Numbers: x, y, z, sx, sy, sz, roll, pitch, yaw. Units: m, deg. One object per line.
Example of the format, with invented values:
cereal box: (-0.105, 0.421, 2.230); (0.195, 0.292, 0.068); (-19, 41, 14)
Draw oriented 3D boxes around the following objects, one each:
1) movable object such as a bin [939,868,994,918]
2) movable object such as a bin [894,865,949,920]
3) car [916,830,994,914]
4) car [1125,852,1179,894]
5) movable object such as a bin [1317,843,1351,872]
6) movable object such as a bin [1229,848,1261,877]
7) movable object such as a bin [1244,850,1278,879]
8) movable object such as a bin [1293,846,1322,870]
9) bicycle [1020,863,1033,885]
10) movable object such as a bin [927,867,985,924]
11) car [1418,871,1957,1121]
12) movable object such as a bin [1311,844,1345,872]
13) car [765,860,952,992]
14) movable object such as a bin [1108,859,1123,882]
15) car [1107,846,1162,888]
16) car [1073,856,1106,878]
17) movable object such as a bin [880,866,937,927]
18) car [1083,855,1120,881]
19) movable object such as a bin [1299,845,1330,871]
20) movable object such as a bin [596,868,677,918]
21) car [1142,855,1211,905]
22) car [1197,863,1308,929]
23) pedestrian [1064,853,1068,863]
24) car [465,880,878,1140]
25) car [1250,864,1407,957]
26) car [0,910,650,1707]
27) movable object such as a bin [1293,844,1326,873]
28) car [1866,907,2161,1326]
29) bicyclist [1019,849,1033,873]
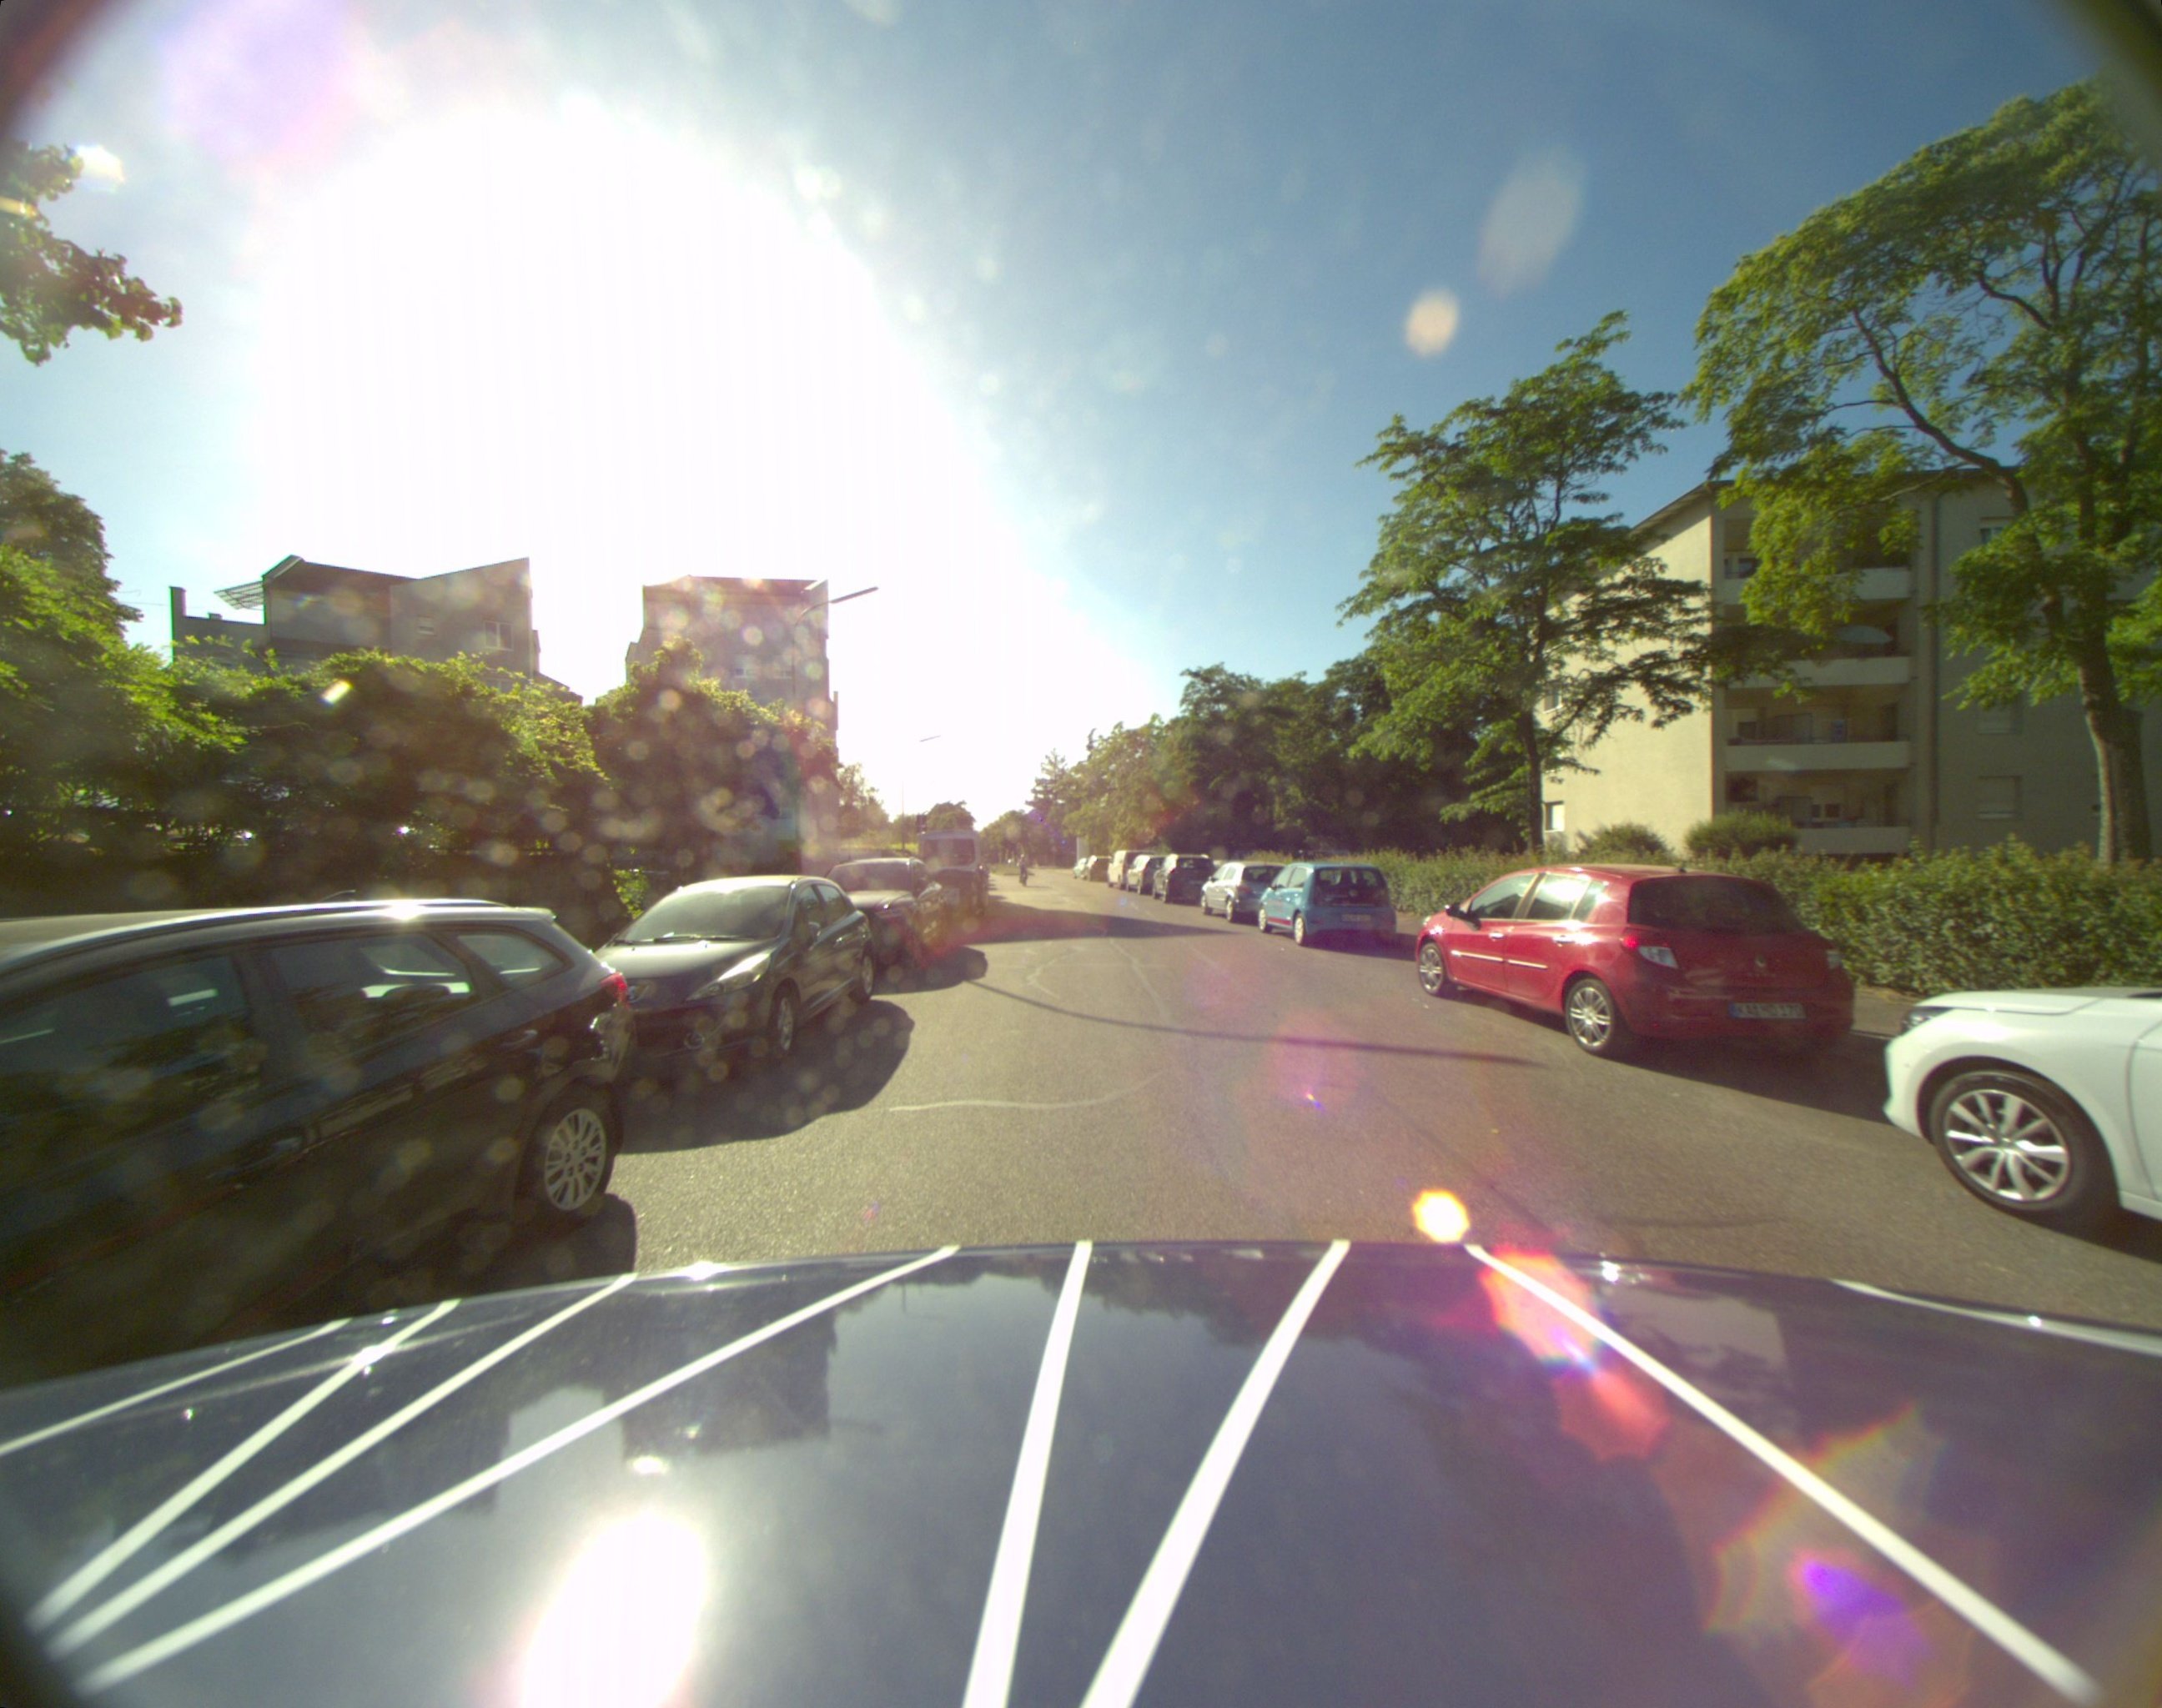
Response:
movable object such as a bin: (-3.113, 1.054, 20.836); (1.272, 1.306, 1.123); (0, -1, 4)
movable object such as a bin: (-4.342, 1.035, 20.810); (1.110, 1.411, 1.360); (-3, 0, 2)
car: (-4.207, 0.530, 26.277); (2.111, 2.472, 5.852); (-2, 1, -5)
car: (2.989, 0.766, 32.943); (1.560, 1.712, 4.338); (-1, 0, -5)
movable object such as a bin: (13.334, 0.195, 40.121); (1.262, 1.480, 1.279); (-1, 1, -6)
movable object such as a bin: (8.694, 0.440, 40.312); (1.263, 1.542, 1.278); (-1, 1, -13)
movable object such as a bin: (9.122, 0.513, 38.494); (1.280, 1.393, 1.261); (-1, 1, -10)
movable object such as a bin: (13.378, 0.239, 44.908); (1.279, 1.347, 1.509); (-1, 1, -1)
bicycle: (-2.989, 1.078, 41.489); (0.458, 1.138, 1.896); (0, 0, -12)
movable object such as a bin: (-3.213, 1.055, 19.671); (1.231, 1.389, 1.170); (-1, 1, 4)
car: (4.640, 0.938, 6.623); (1.675, 1.465, 3.677); (0, 0, -2)
movable object such as a bin: (13.501, 0.196, 41.641); (1.279, 1.480, 1.509); (-1, 1, -4)
car: (-3.345, 0.974, 12.396); (1.815, 1.654, 4.461); (-3, 0, -2)
movable object such as a bin: (2.053, 0.978, 45.213); (0.805, 1.308, 1.321); (-1, 0, -2)
car: (2.610, 0.618, 37.969); (1.869, 1.949, 4.667); (-1, 0, -7)
car: (0.593, 0.925, 55.845); (1.632, 1.518, 3.415); (-1, 0, -14)
movable object such as a bin: (-4.404, 1.074, 19.531); (1.094, 1.440, 1.170); (-2, 2, 2)
car: (1.317, 0.877, 50.569); (1.680, 1.629, 4.247); (1, 0, -8)
movable object such as a bin: (13.302, 0.226, 43.292); (1.279, 1.401, 1.509); (-1, 1, -1)
movable object such as a bin: (-12.262, 1.056, 21.038); (1.416, 1.298, 1.381); (0, 1, 0)
car: (3.253, 0.843, 26.669); (1.753, 1.608, 4.361); (-1, 0, -2)
car: (4.201, 0.975, 19.284); (1.675, 1.428, 3.998); (0, 0, -4)
pedestrian: (-2.291, 0.577, 118.303); (0.539, 1.512, 0.395); (-1, 1, -34)
car: (-3.180, 1.081, 6.884); (1.689, 1.479, 3.823); (-3, 0, -2)
car: (4.513, 0.969, 14.437); (1.675, 1.465, 3.677); (0, 0, -2)
car: (-2.985, 1.064, 1.681); (1.686, 1.448, 4.290); (-3, 1, -2)
movable object such as a bin: (12.017, 0.227, 39.941); (1.262, 1.480, 1.279); (-1, 1, -6)
car: (4.656, 0.979, 1.762); (1.674, 1.413, 3.901); (0, 0, 1)
bicyclist: (-3.017, 0.380, 41.638); (0.639, 1.339, 0.837); (-1, 1, -14)
